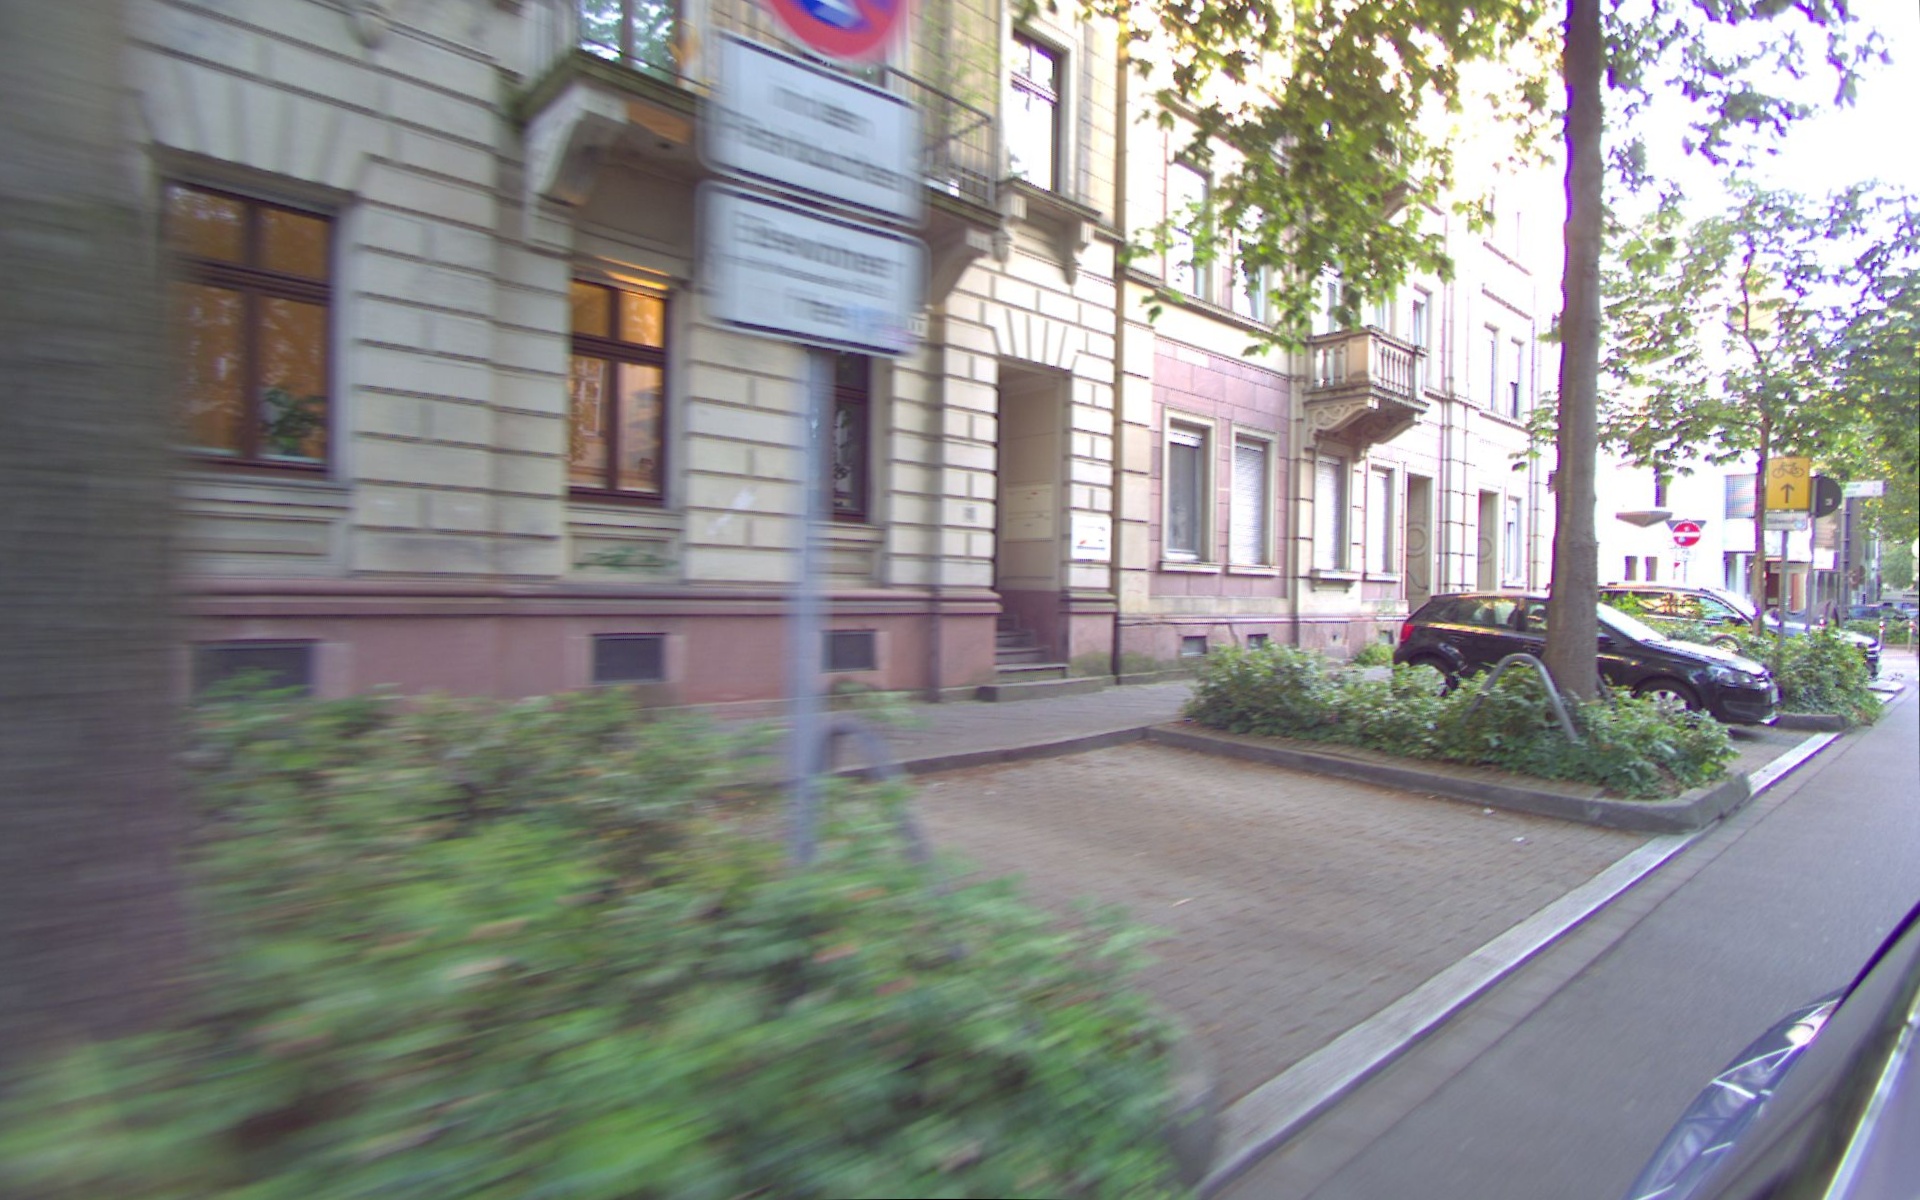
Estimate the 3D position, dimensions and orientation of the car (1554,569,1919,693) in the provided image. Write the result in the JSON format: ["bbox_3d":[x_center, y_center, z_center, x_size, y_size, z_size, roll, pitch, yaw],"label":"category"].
[{"bbox_3d":[12.727,0.410,16.873,1.831,1.580,4.429,2,3,-35],"label":"car"}]

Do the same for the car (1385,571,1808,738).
[{"bbox_3d":[7.363,0.506,11.972,1.752,1.445,3.871,1,4,-44],"label":"car"}]

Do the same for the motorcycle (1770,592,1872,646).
[{"bbox_3d":[25.835,0.566,30.427,2.230,1.565,0.765,0,0,33],"label":"motorcycle"}]

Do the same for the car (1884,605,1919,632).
[{"bbox_3d":[52.462,1.005,54.703,1.563,1.438,3.546,1,-2,-42],"label":"car"}]

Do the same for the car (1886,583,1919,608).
[{"bbox_3d":[58.030,-0.278,60.672,1.563,1.438,3.546,1,-2,-42],"label":"car"}]

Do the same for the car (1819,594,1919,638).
[{"bbox_3d":[37.347,0.646,40.657,1.563,1.697,4.160,1,-2,-42],"label":"car"}]
